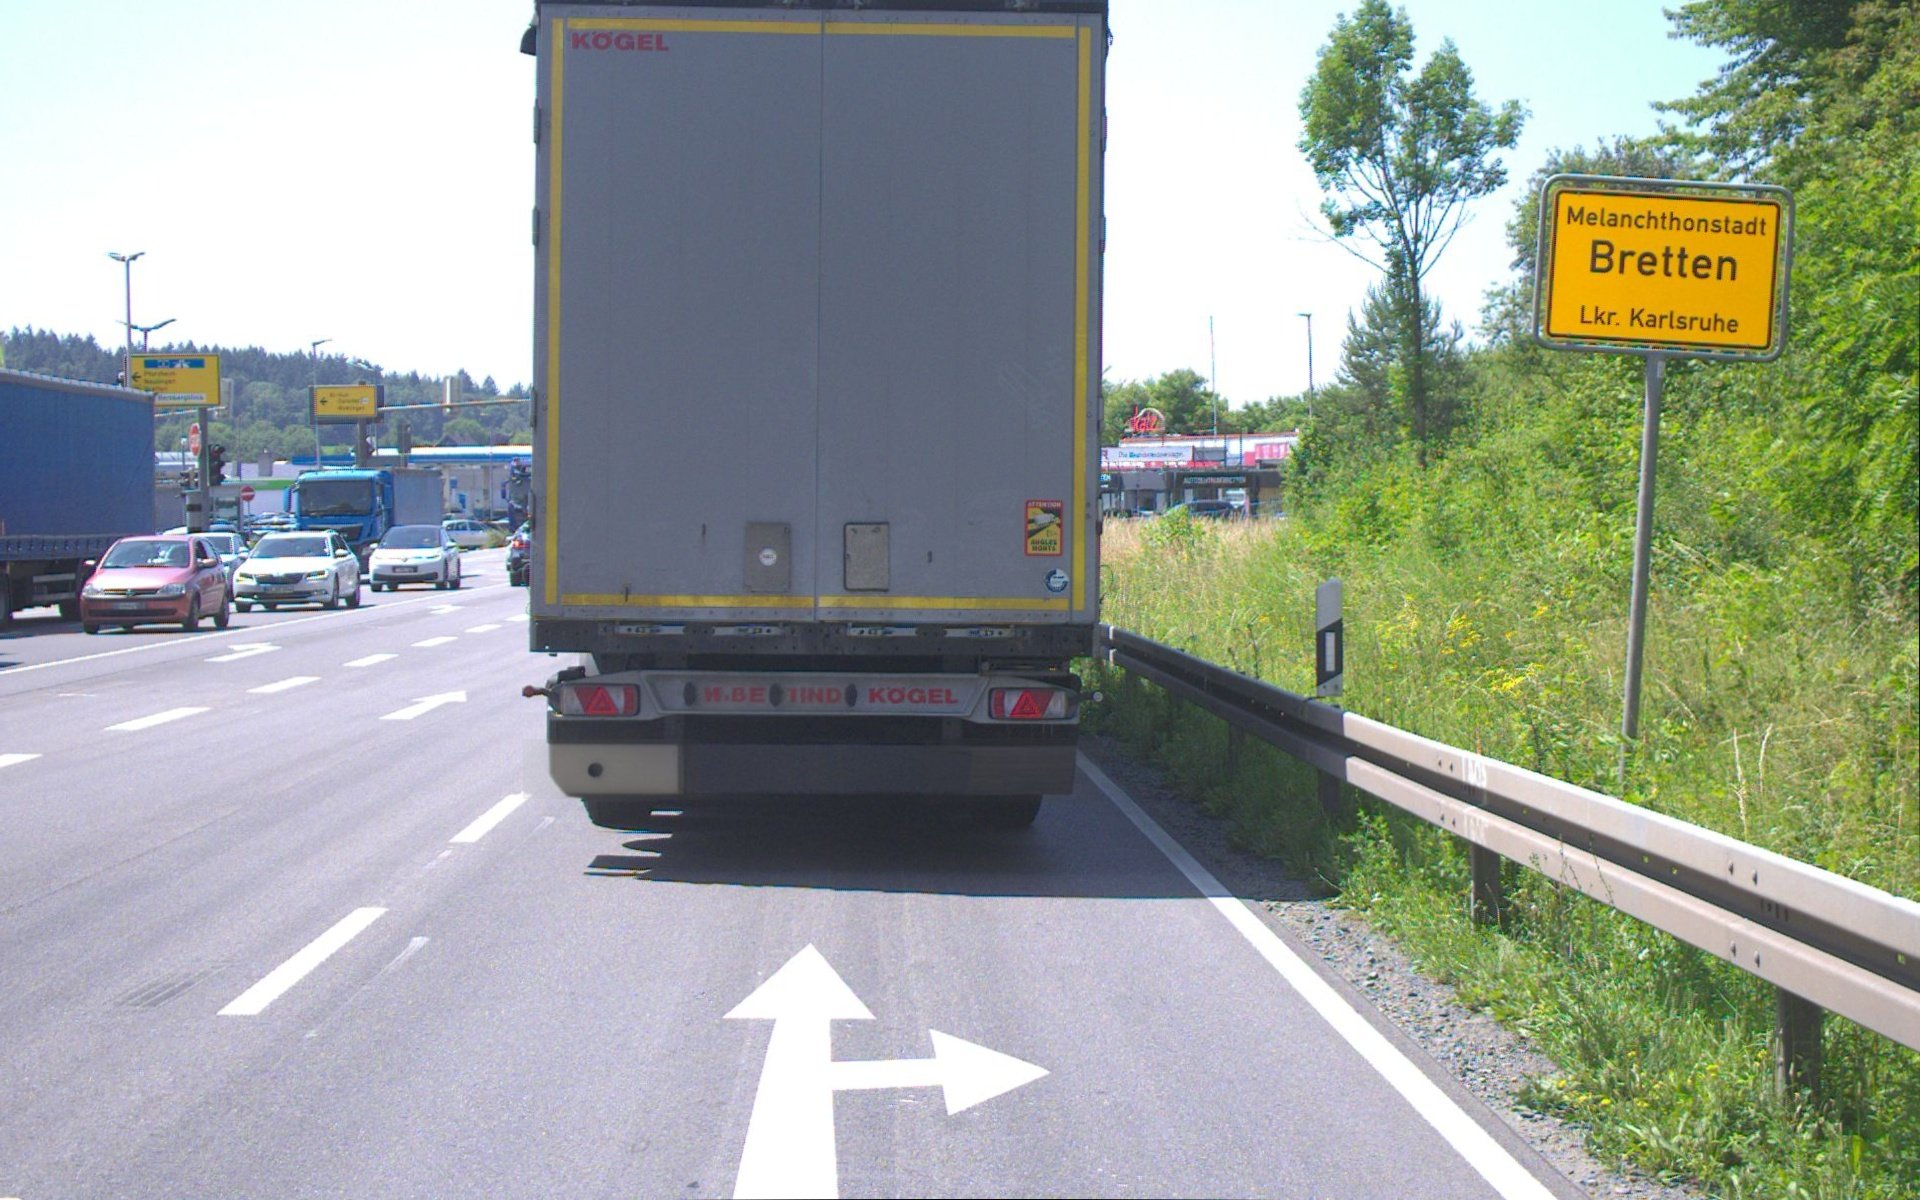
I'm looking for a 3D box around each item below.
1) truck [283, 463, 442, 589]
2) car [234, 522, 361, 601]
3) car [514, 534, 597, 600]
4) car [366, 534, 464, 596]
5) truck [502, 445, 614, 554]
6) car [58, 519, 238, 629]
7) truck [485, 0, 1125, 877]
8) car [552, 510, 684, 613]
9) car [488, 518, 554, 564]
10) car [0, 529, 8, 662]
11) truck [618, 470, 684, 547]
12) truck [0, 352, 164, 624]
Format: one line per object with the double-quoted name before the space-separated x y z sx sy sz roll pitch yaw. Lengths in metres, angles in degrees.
"truck" -16.768 -2.057 97.191 2.846 3.340 11.483 0 1 -2
"car" -12.314 -0.729 64.098 1.699 1.410 4.563 0 1 -3
"car" -10.049 -0.838 85.672 1.793 1.621 4.370 0 1 -3
"car" -13.083 -0.866 82.750 1.761 1.423 4.180 -1 1 -1
"truck" -16.868 -4.148 145.391 3.146 4.334 17.544 0 1 -2
"car" -11.928 -0.406 50.707 1.767 1.441 3.776 -4 1 -1
"truck" -1.025 -1.153 23.444 2.755 4.623 16.657 1 0 -2
"car" -5.778 -0.679 58.534 1.804 1.664 4.292 1 1 0
"car" -14.061 -1.913 110.235 1.789 1.422 4.264 1 1 -4
"car" -11.563 -0.004 36.180 1.918 1.475 4.687 -2 1 -2
"truck" -16.573 -4.873 185.137 2.934 3.936 14.239 0 1 -3
"truck" -16.205 -1.756 55.826 2.968 4.162 16.576 -1 1 -1
